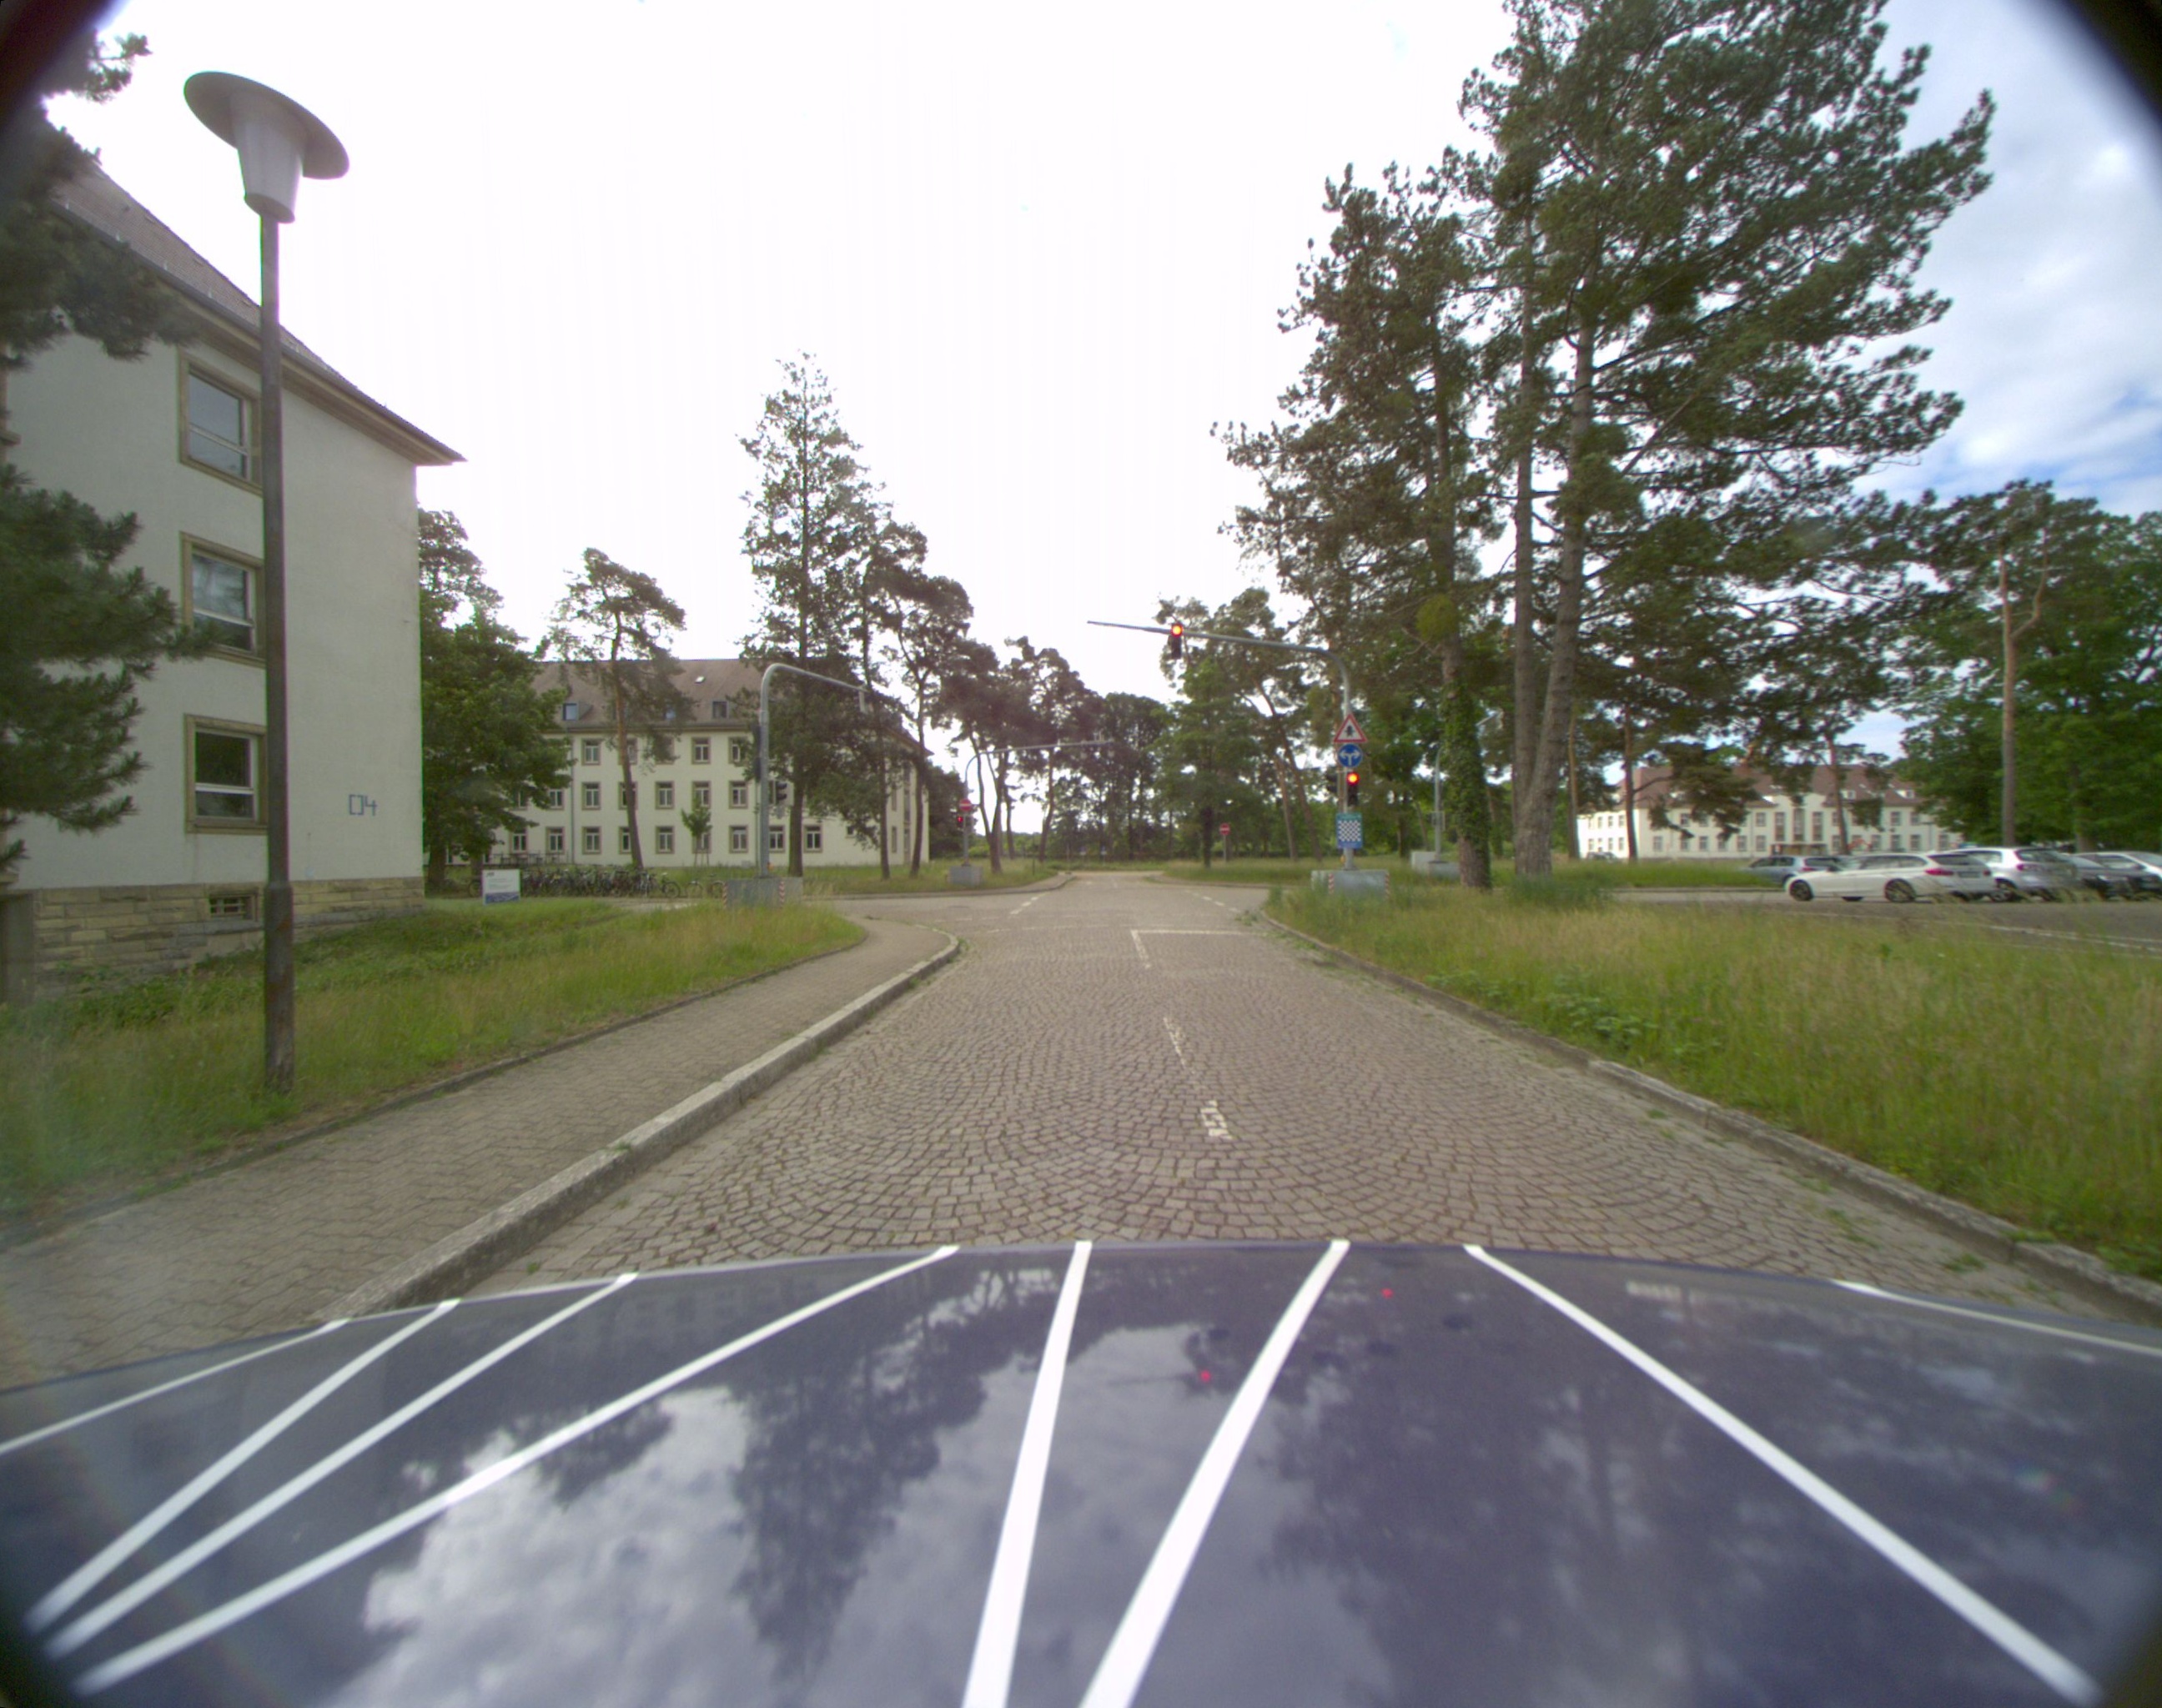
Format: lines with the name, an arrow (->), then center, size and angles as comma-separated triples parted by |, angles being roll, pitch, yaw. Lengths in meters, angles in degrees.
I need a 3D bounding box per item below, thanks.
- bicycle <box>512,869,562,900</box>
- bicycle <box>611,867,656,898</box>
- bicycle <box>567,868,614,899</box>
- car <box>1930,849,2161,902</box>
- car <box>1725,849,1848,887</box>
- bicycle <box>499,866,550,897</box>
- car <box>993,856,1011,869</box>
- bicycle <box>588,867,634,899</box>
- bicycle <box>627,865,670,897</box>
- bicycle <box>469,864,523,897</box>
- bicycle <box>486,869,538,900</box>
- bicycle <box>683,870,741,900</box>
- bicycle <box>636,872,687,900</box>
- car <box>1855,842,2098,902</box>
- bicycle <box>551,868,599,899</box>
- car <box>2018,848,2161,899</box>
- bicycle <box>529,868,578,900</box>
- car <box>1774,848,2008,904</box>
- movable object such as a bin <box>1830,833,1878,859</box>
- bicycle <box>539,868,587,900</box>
bicycle -> -22.442, 1.229, 31.380 | 0.624, 1.240, 1.989 | -1, -1, 0
bicycle -> -18.423, 1.165, 31.321 | 0.624, 1.240, 1.989 | -1, -1, 0
bicycle -> -20.208, 1.193, 31.337 | 0.624, 1.240, 1.989 | -1, -1, 0
car -> 28.826, 0.667, 22.793 | 1.721, 1.415, 4.451 | -1, -2, 0
car -> 30.964, 0.575, 33.514 | 1.696, 1.421, 4.012 | 0, 3, 1
bicycle -> -22.957, 1.128, 31.366 | 0.624, 1.240, 1.989 | -1, -1, 0
car -> -9.094, 0.976, 87.335 | 1.487, 1.428, 3.197 | -1, -1, 3
bicycle -> -19.349, 1.179, 31.323 | 0.624, 1.240, 1.989 | -1, -1, 0
bicycle -> -17.796, 1.092, 31.311 | 0.624, 1.240, 1.989 | -1, -1, 0
bicycle -> -24.112, 1.084, 31.362 | 0.624, 1.241, 1.988 | -1, 2, 0
bicycle -> -23.450, 1.245, 31.358 | 0.624, 1.240, 1.989 | -1, -1, 0
bicycle -> -14.480, 1.206, 29.801 | 1.986, 1.107, 0.624 | -1, 0, 5
bicycle -> -16.435, 1.252, 29.768 | 1.675, 1.076, 0.624 | -1, -1, 6
car -> 26.172, 0.556, 22.495 | 1.872, 1.588, 4.377 | 0, -2, -3
bicycle -> -20.840, 1.204, 31.354 | 0.624, 1.240, 1.989 | -1, -1, 0
car -> 31.505, 0.608, 22.902 | 1.584, 1.461, 3.964 | -1, -2, -1
bicycle -> -21.700, 1.217, 31.318 | 0.624, 1.240, 1.989 | -1, -1, 0
car -> 23.621, 0.652, 22.510 | 1.865, 1.479, 4.756 | 0, -2, 0
movable object such as a bin -> 116.712, -1.167, 114.851 | 2.050, 3.747, 5.467 | -1, -1, 6
bicycle -> -21.364, 1.212, 31.378 | 0.624, 1.240, 1.989 | -1, -1, 0
